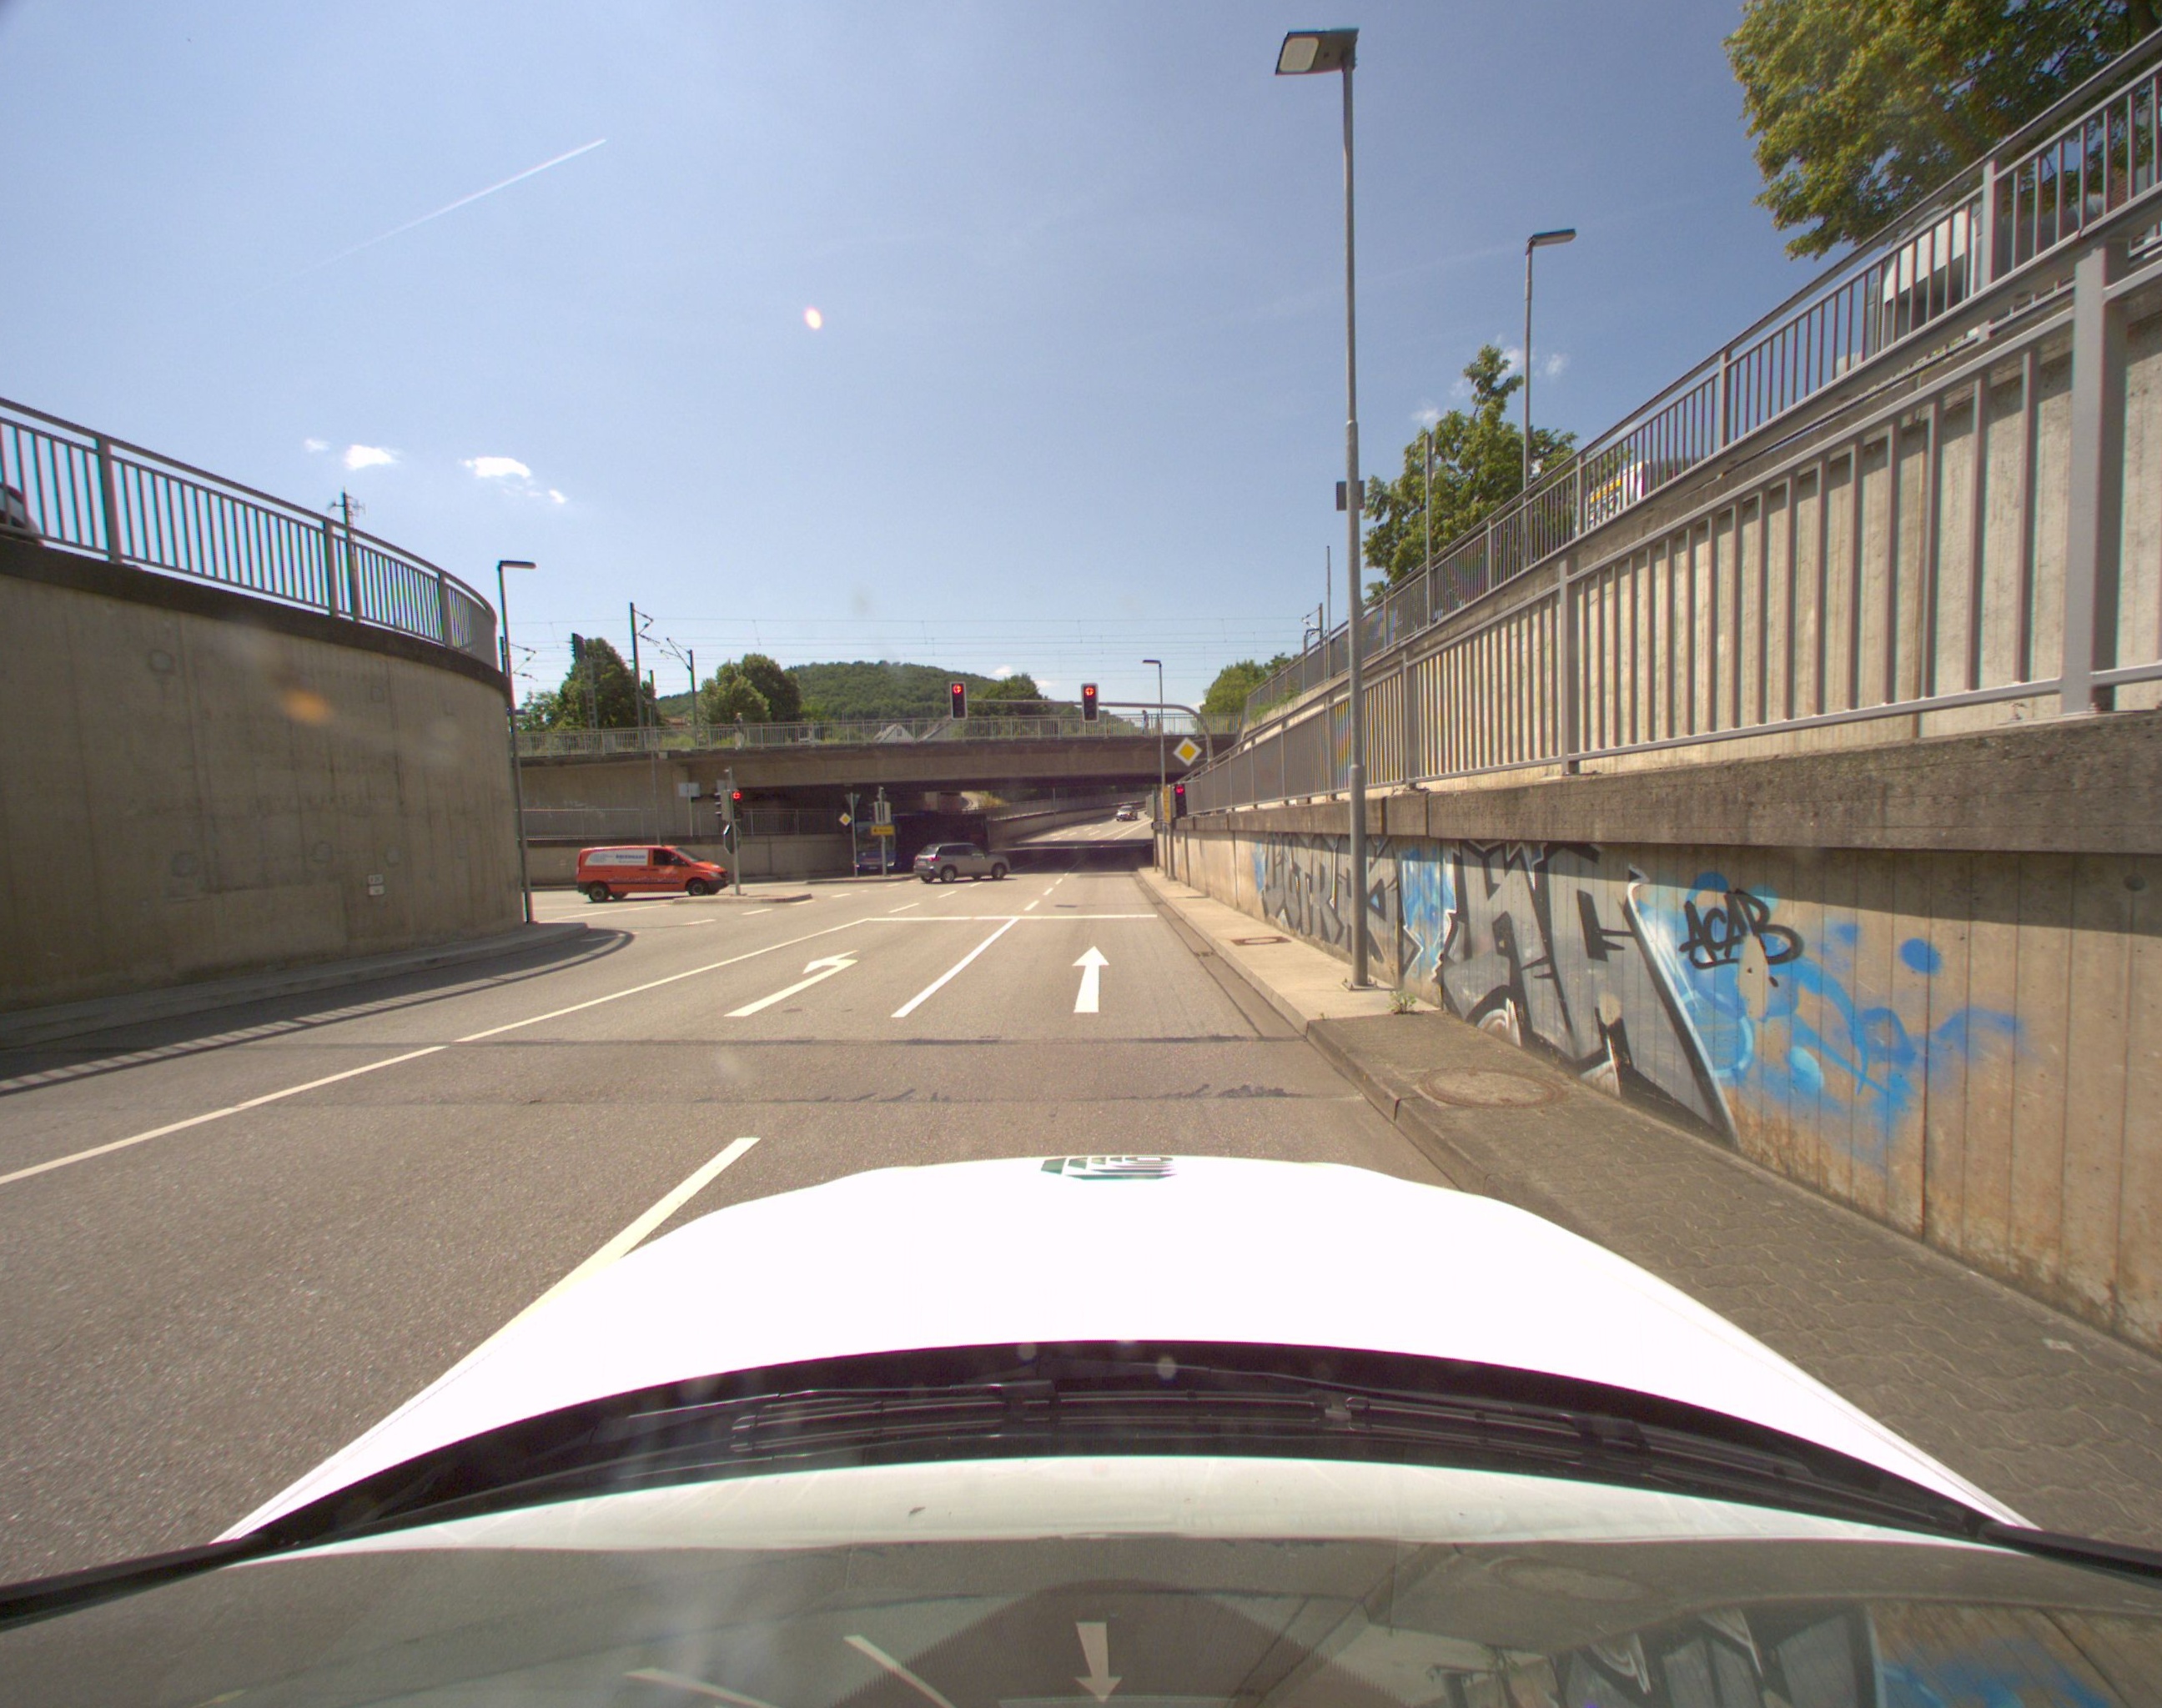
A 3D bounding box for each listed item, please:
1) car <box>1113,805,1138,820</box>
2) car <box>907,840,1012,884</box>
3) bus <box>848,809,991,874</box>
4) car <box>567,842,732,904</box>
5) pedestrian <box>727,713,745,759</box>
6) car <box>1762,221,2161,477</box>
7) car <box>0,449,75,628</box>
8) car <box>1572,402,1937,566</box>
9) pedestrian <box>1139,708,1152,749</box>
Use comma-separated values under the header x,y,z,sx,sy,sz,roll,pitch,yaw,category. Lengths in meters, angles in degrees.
x,y,z,sx,sy,sz,roll,pitch,yaw,category
5.191,-4.831,94.888,1.978,1.627,4.018,-1,3,16,car
-5.033,0.281,34.026,4.023,1.617,1.788,-4,3,-43,car
-8.690,-0.927,46.467,2.561,3.172,12.432,-1,3,16,bus
-15.155,0.622,28.847,4.701,1.932,1.874,-2,3,-9,car
-16.427,-5.611,38.749,0.576,2.081,0.533,-3,1,-9,pedestrian
9.897,-5.185,8.522,3.969,1.486,1.772,-1,0,4,car
-11.872,-3.174,6.776,1.896,1.667,4.000,-1,3,0,car
9.928,-5.478,12.279,3.969,1.486,1.772,-1,0,4,car
3.458,-6.730,43.636,0.538,2.081,0.534,-2,0,-5,pedestrian
